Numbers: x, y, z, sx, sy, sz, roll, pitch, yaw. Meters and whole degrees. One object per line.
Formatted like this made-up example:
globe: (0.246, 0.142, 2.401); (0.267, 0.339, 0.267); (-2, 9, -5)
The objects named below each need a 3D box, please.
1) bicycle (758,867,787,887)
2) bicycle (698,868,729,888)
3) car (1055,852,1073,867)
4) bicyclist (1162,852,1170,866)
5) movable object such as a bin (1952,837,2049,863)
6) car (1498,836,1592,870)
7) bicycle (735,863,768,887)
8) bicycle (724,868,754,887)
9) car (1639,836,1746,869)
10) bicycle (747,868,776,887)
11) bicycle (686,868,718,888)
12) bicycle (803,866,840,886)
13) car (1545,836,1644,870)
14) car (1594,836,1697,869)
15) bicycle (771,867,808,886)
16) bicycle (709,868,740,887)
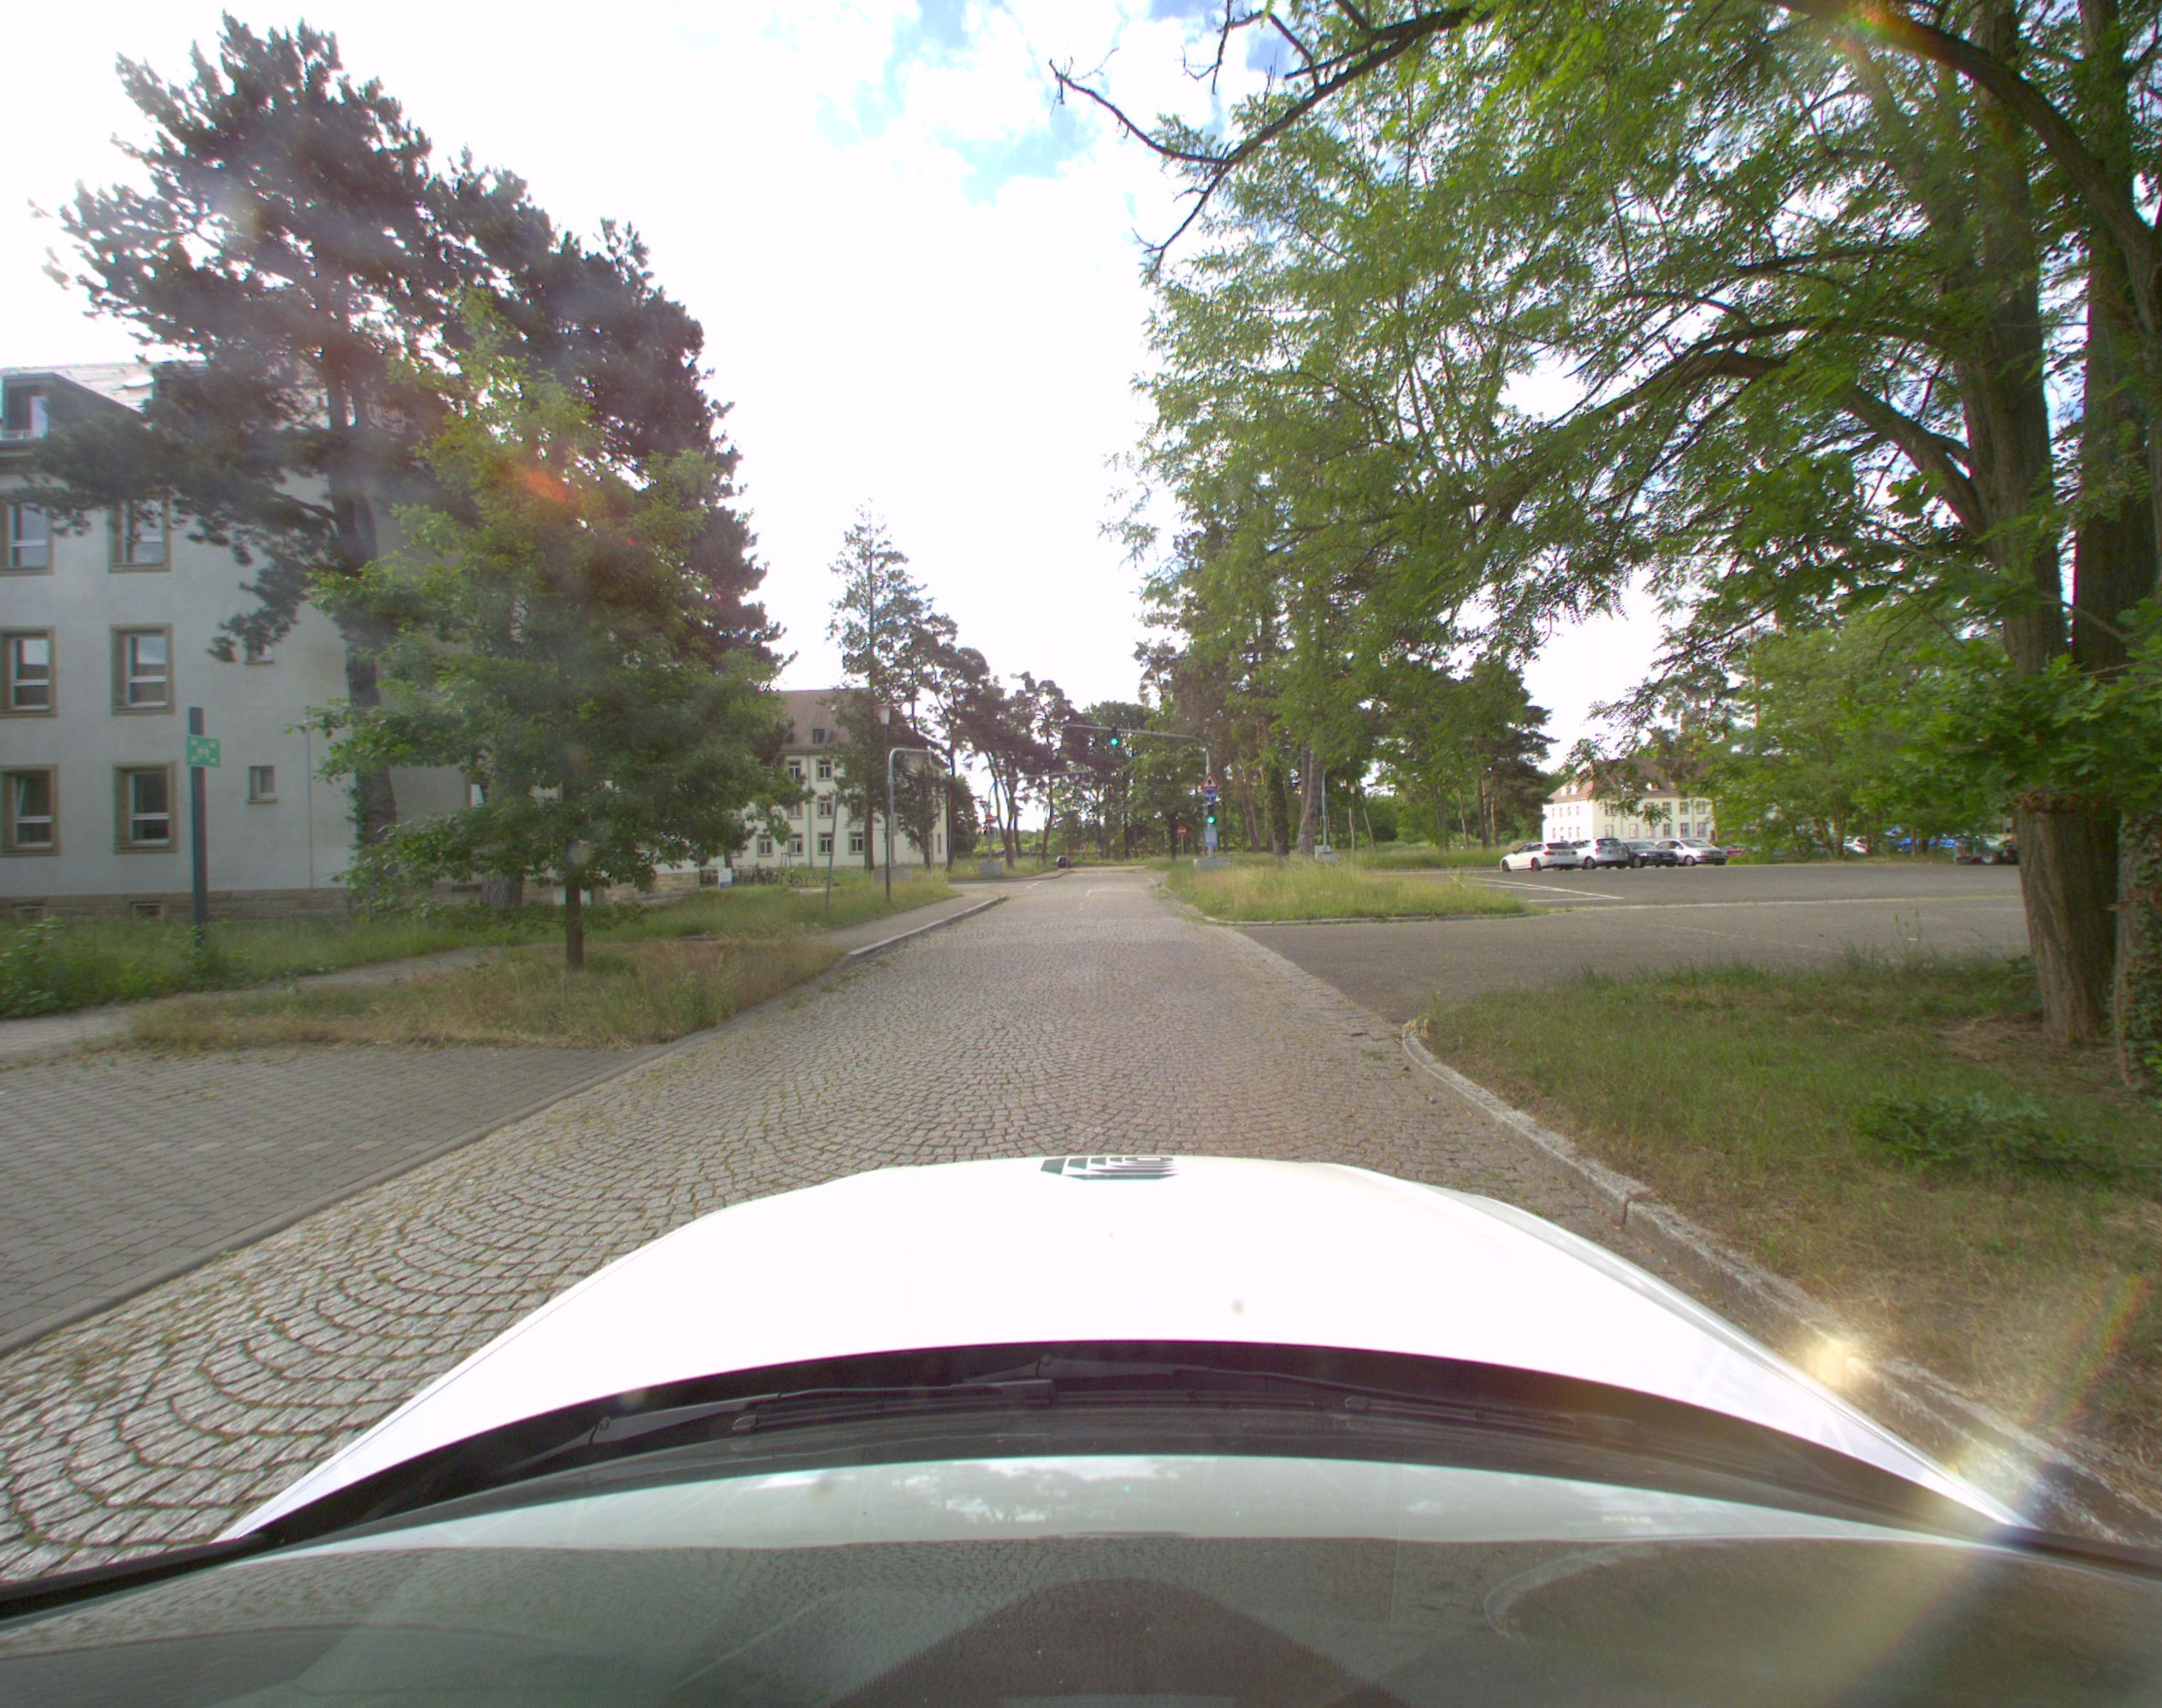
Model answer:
bicycle: (-18.384, 1.357, 48.601); (0.733, 1.076, 2.274); (-2, 0, 2)
bicycle: (-21.941, 1.411, 48.643); (0.733, 1.076, 2.274); (-2, 0, 2)
car: (-2.127, 0.668, 104.396); (2.048, 1.846, 4.001); (-2, 0, 1)
bicyclist: (10.450, 0.648, 100.154); (0.751, 1.671, 0.522); (0, -1, -21)
movable object such as a bin: (31.240, -0.144, 27.714); (1.179, 0.825, 1.957); (-2, 0, 6)
car: (22.831, -0.009, 40.265); (1.988, 1.481, 4.422); (-2, -1, -2)
bicycle: (-19.760, 1.252, 48.907); (0.733, 1.385, 2.713); (-2, 0, 2)
bicycle: (-20.552, 1.404, 49.034); (0.733, 1.076, 2.274); (-2, 0, 2)
car: (30.692, -0.043, 41.039); (1.988, 1.523, 4.422); (0, -2, -2)
bicycle: (-19.026, 1.380, 48.535); (0.733, 1.076, 2.274); (-2, 0, 2)
bicycle: (-22.647, 1.421, 48.736); (0.733, 1.076, 2.274); (-2, 0, 2)
bicycle: (-15.059, 1.267, 47.313); (1.848, 1.076, 0.832); (-2, 0, 3)
car: (25.346, -0.014, 40.389); (1.988, 1.481, 4.422); (-2, -1, -2)
car: (28.015, -0.019, 40.622); (1.988, 1.481, 4.422); (-2, -1, -2)
bicycle: (-16.942, 1.307, 47.317); (1.848, 1.076, 0.739); (-2, 0, 3)
bicycle: (-21.213, 1.395, 48.555); (0.733, 1.076, 2.274); (-2, 0, 2)
